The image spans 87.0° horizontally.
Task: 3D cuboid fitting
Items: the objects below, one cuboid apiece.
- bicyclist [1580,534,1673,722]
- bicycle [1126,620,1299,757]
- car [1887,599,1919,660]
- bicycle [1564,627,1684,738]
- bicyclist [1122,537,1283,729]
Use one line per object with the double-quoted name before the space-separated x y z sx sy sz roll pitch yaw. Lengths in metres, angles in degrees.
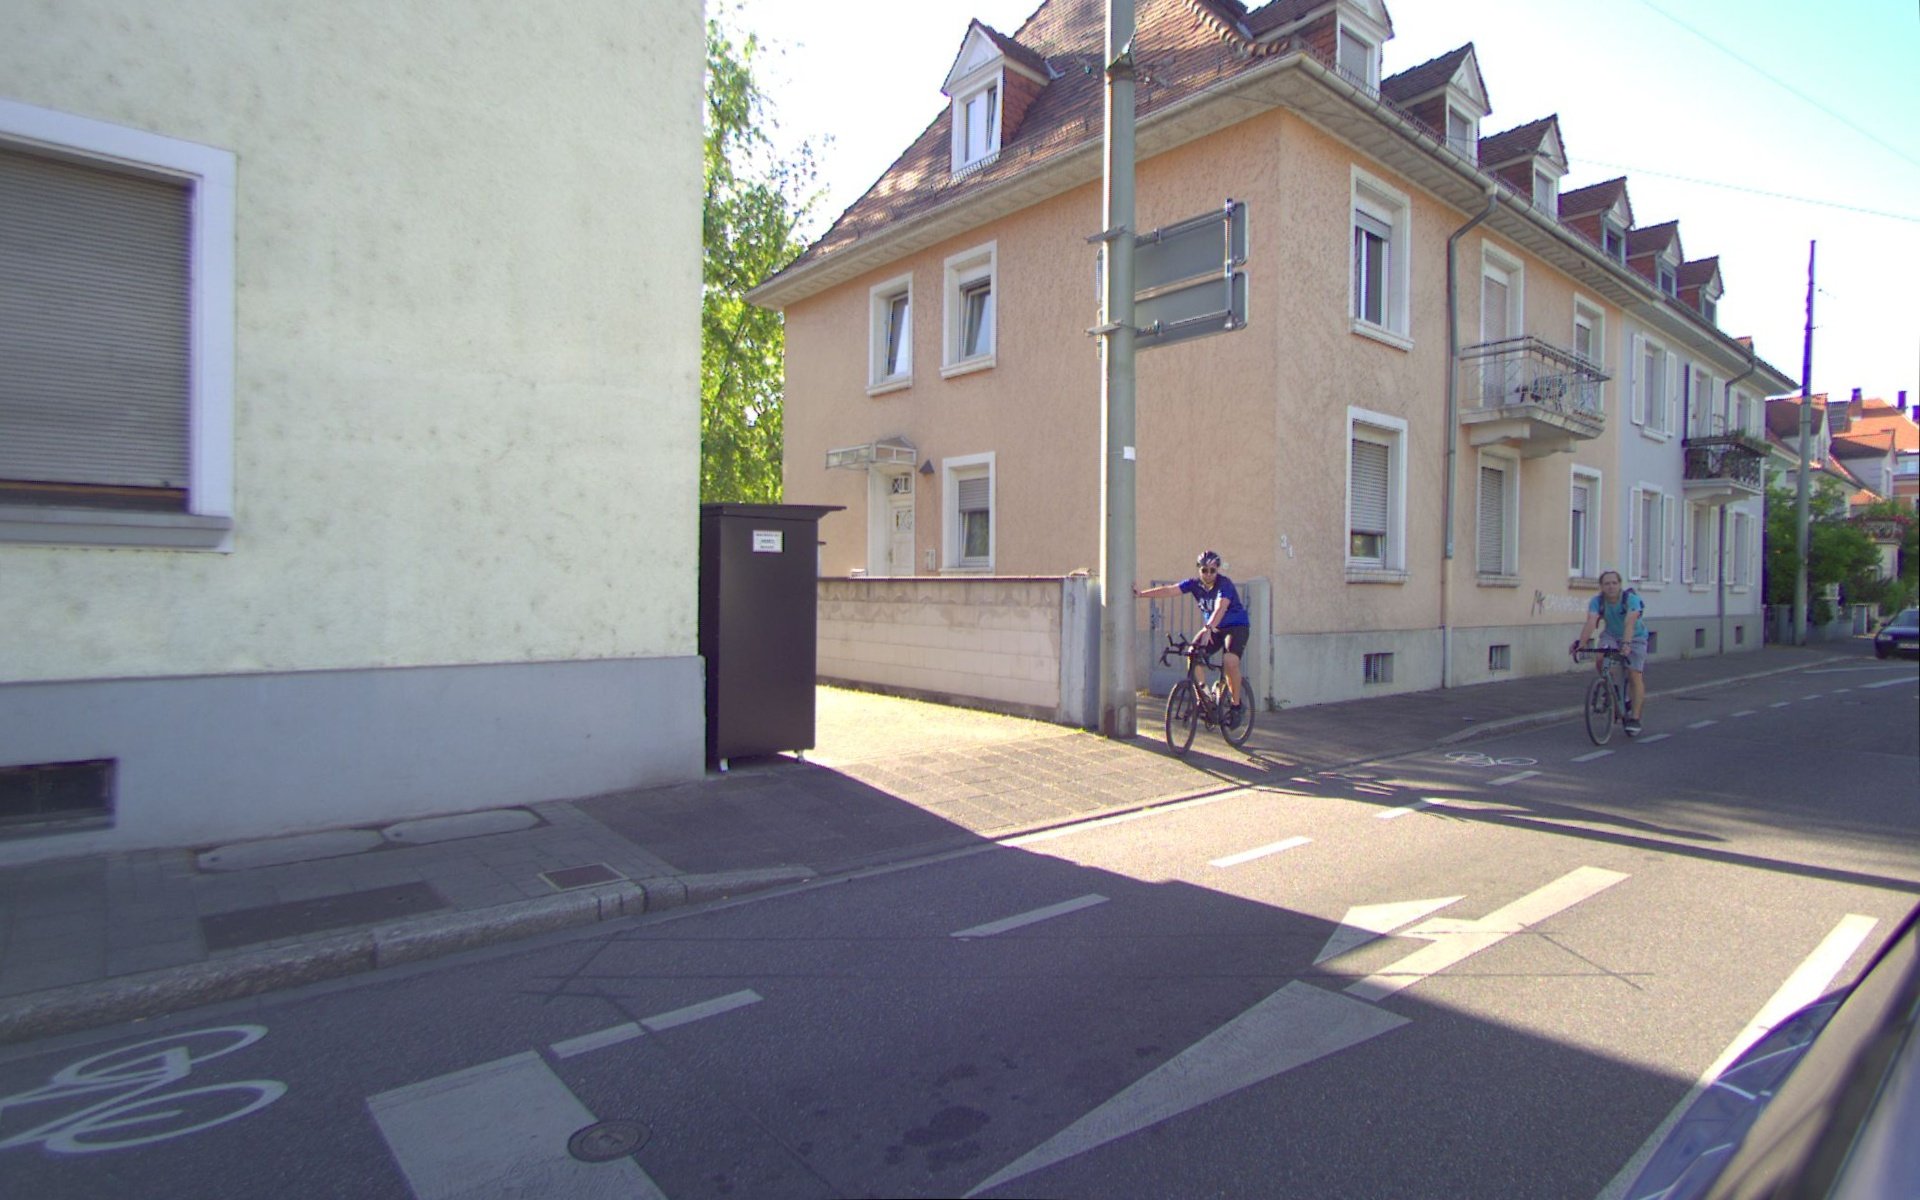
"bicyclist" 7.266 0.304 11.025 0.928 1.959 0.519 4 -2 -37
"bicycle" 2.366 0.772 9.373 1.744 1.081 0.592 0 5 -41
"car" 26.694 0.752 27.372 3.742 1.601 1.696 0 -1 -36
"bicycle" 7.248 0.877 11.018 1.762 1.105 0.519 3 -1 -37
"bicyclist" 2.270 0.272 9.534 0.870 1.627 1.052 1 5 -41
